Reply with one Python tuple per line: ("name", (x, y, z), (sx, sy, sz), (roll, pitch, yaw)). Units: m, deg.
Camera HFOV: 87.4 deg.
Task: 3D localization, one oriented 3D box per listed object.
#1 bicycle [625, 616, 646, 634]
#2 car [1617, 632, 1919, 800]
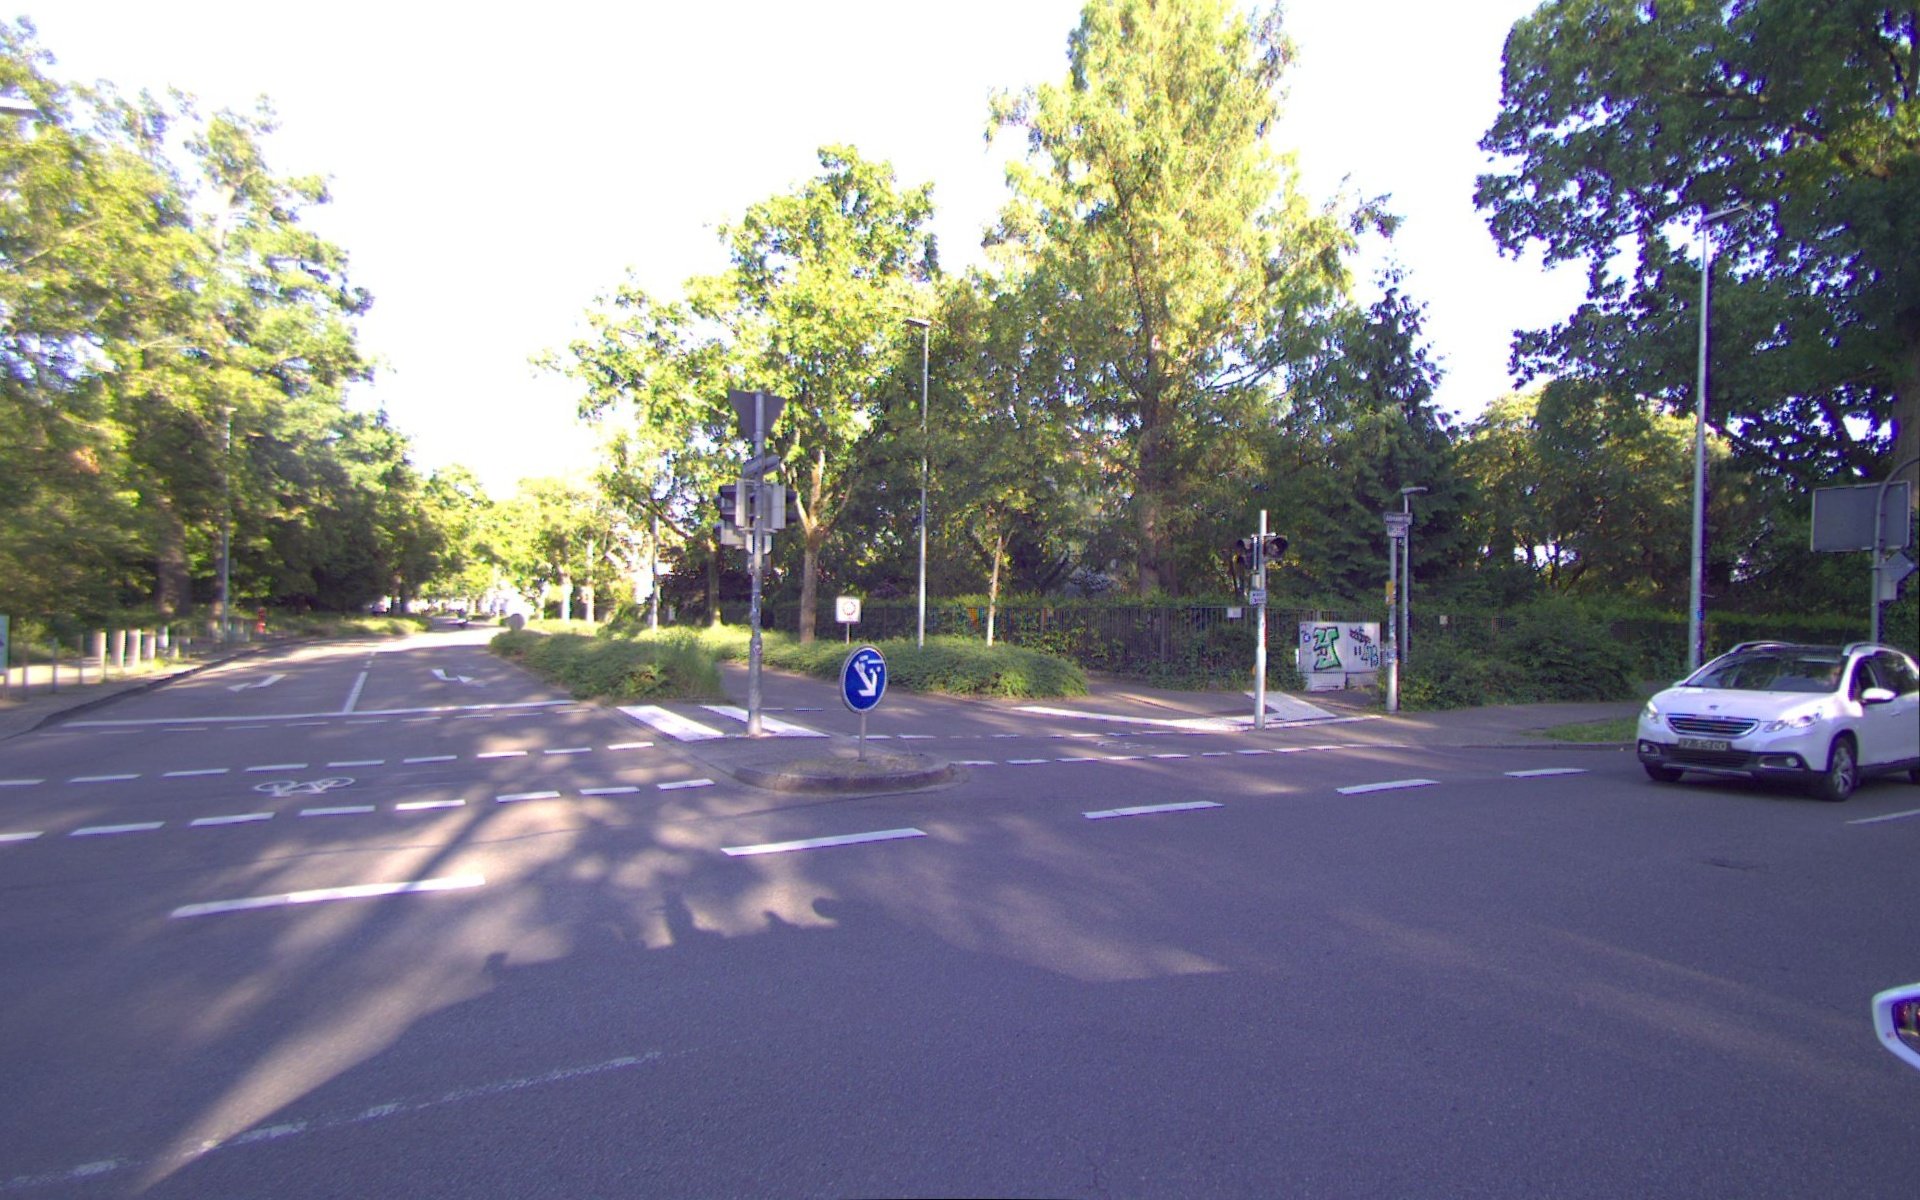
("bicycle", (-22.647, 1.751, 70.154), (0.869, 1.216, 2.324), (0, 0, -5))
("car", (9.104, 1.155, 10.964), (3.855, 1.543, 1.670), (2, -3, -30))
